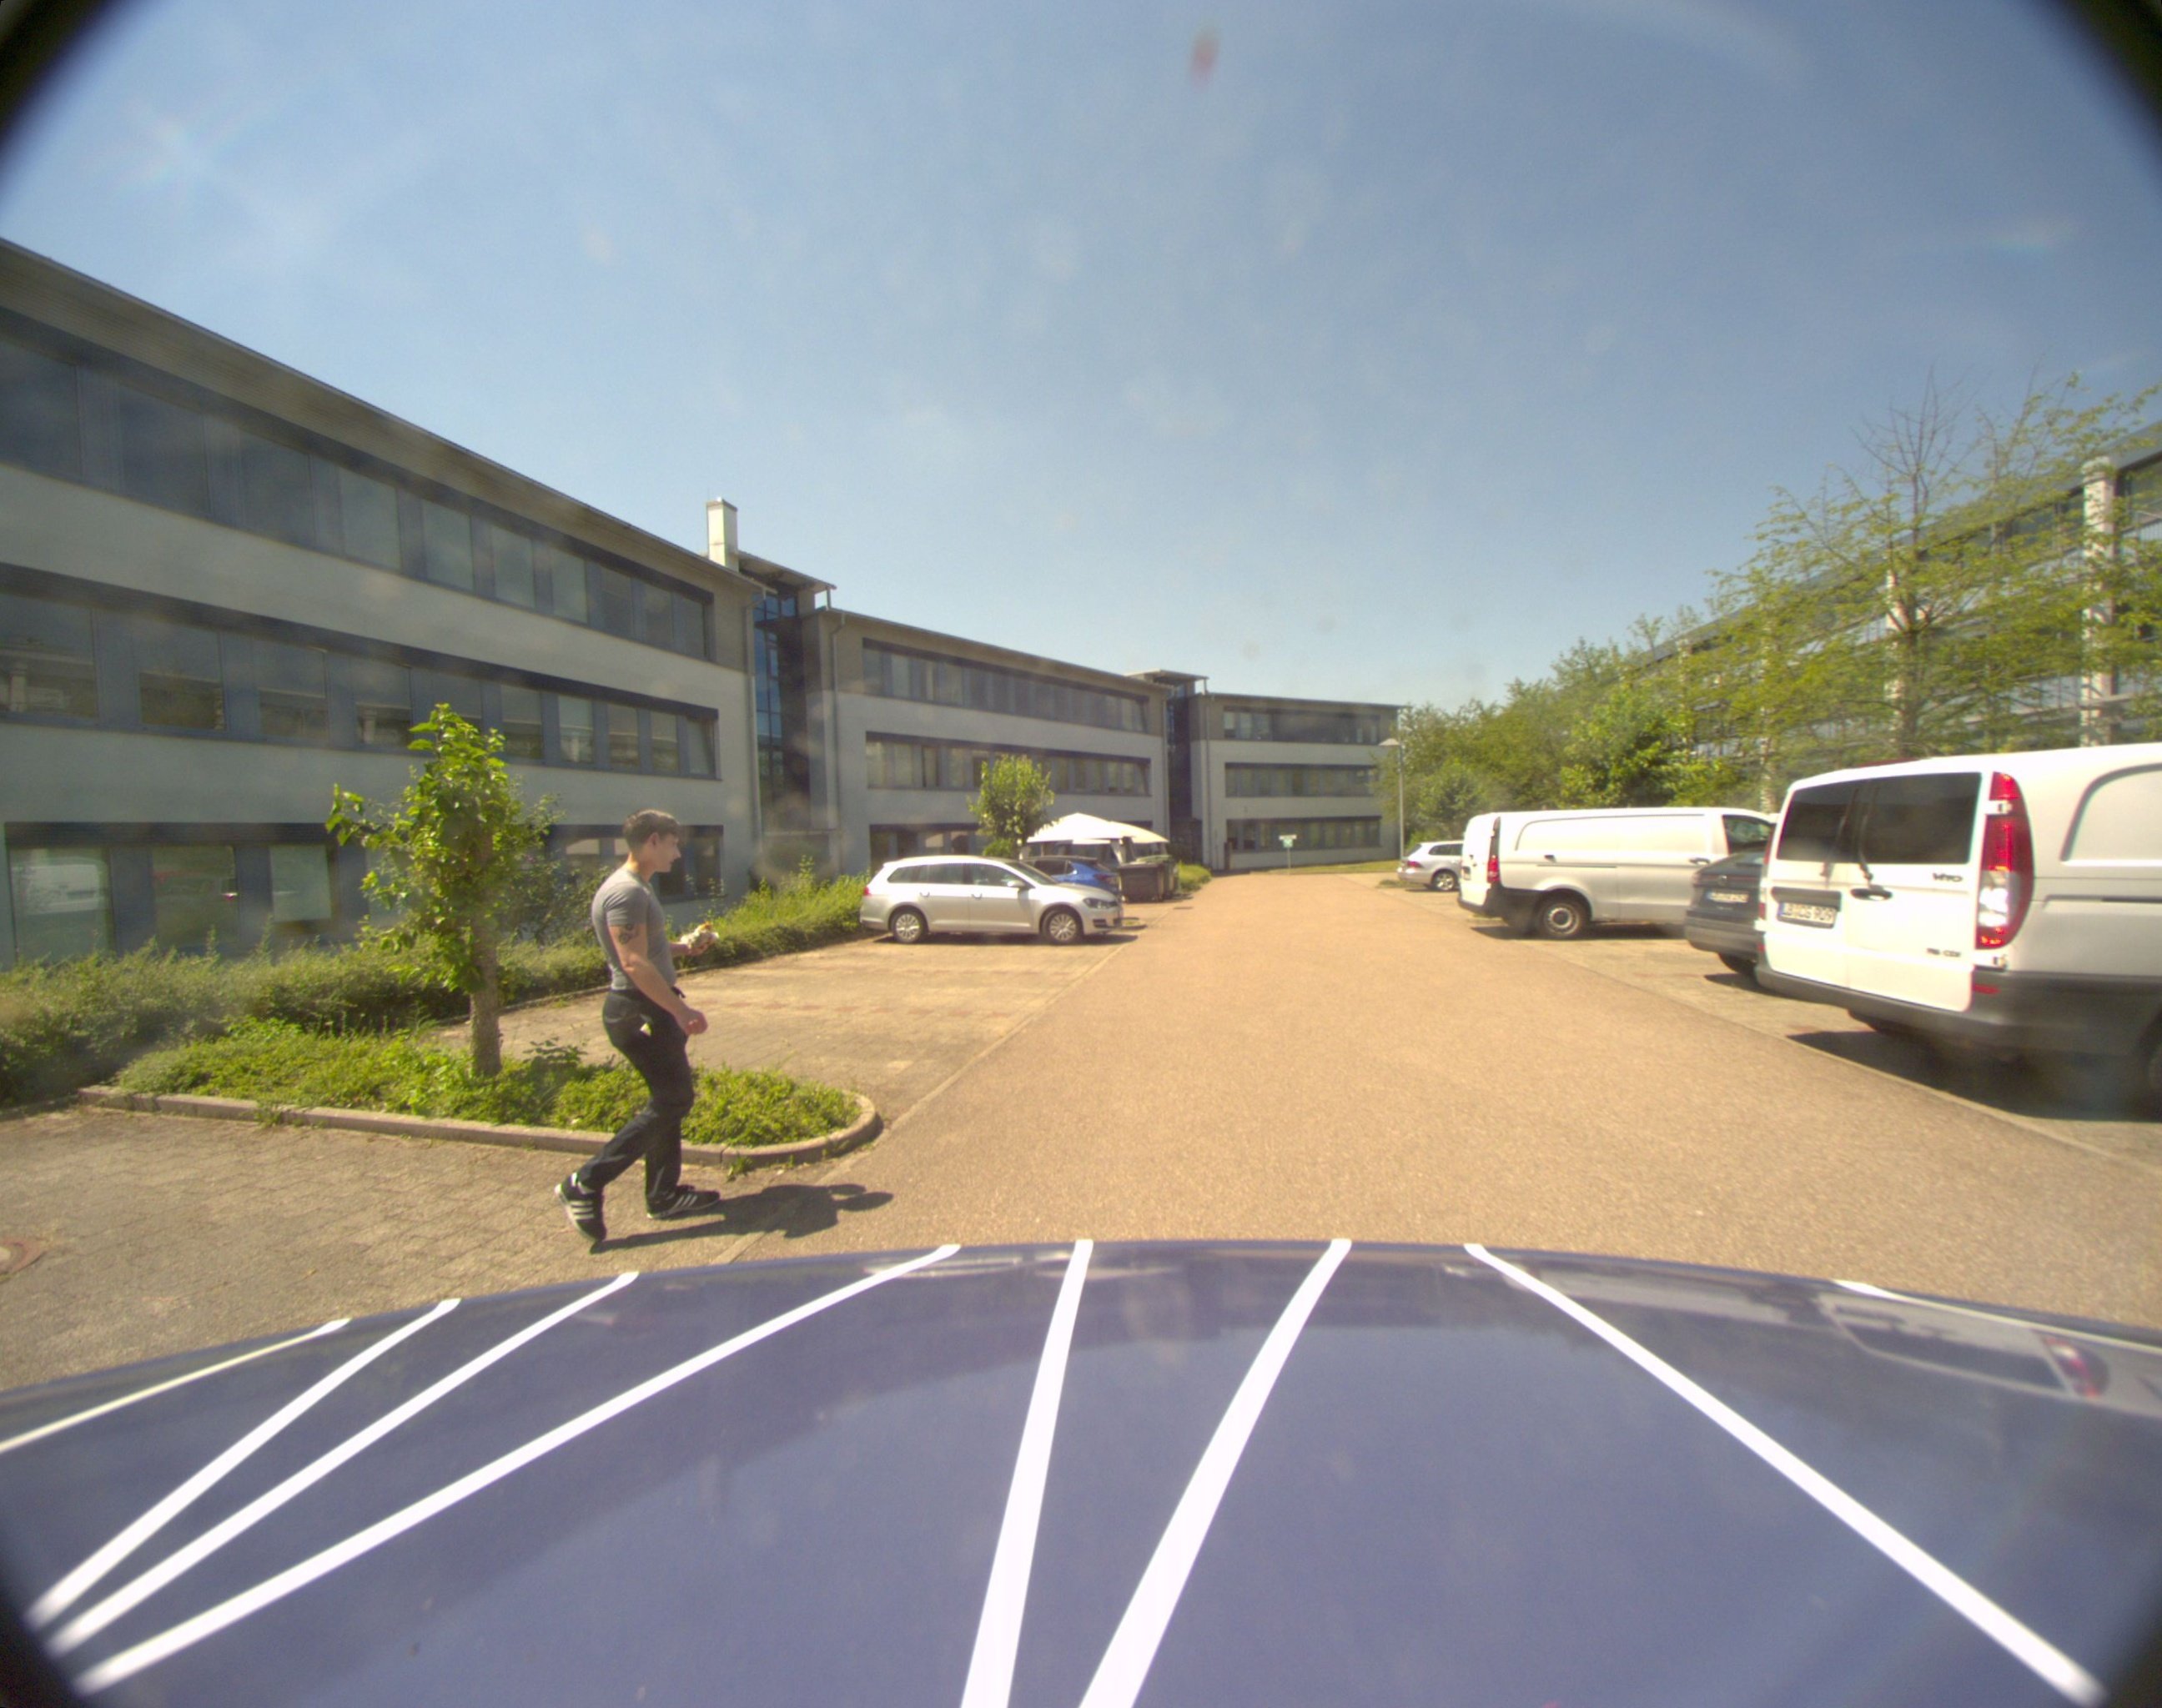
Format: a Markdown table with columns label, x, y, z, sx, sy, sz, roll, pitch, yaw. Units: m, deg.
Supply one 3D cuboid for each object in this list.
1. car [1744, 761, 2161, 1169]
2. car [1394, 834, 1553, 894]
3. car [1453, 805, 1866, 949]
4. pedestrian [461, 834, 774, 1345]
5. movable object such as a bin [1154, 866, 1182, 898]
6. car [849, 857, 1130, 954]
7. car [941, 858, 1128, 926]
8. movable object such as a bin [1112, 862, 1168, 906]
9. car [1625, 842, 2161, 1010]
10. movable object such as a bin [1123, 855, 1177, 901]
| label | x | y | z | sx | sy | sz | roll | pitch | yaw |
| --- | --- | --- | --- | --- | --- | --- | --- | --- | --- |
| car | 6.889 | 0.452 | 4.077 | 4.728 | 1.895 | 1.831 | -2 | 1 | 11 |
| car | 11.207 | 0.277 | 21.942 | 3.759 | 1.549 | 1.662 | -2 | 1 | 11 |
| car | 8.230 | 0.343 | 11.279 | 4.513 | 1.871 | 1.830 | -2 | 1 | 11 |
| pedestrian | -1.789 | 0.806 | 3.039 | 0.617 | 1.747 | 0.789 | -2 | 1 | 16 |
| movable object such as a bin | 2.708 | 0.868 | 23.571 | 0.690 | 0.944 | 0.723 | -2 | 1 | 18 |
| car | -1.511 | 0.837 | 13.281 | 4.513 | 1.489 | 1.830 | -1 | 1 | 11 |
| car | -0.971 | 0.798 | 16.878 | 3.821 | 1.384 | 1.653 | 0 | 1 | 11 |
| movable object such as a bin | 1.694 | 0.839 | 21.768 | 1.362 | 1.183 | 0.998 | -2 | 1 | 18 |
| car | 7.868 | 0.644 | 7.404 | 3.845 | 1.385 | 1.578 | -2 | 1 | 11 |
| movable object such as a bin | 2.081 | 0.718 | 22.750 | 1.362 | 1.288 | 1.044 | -2 | 1 | 18 |
